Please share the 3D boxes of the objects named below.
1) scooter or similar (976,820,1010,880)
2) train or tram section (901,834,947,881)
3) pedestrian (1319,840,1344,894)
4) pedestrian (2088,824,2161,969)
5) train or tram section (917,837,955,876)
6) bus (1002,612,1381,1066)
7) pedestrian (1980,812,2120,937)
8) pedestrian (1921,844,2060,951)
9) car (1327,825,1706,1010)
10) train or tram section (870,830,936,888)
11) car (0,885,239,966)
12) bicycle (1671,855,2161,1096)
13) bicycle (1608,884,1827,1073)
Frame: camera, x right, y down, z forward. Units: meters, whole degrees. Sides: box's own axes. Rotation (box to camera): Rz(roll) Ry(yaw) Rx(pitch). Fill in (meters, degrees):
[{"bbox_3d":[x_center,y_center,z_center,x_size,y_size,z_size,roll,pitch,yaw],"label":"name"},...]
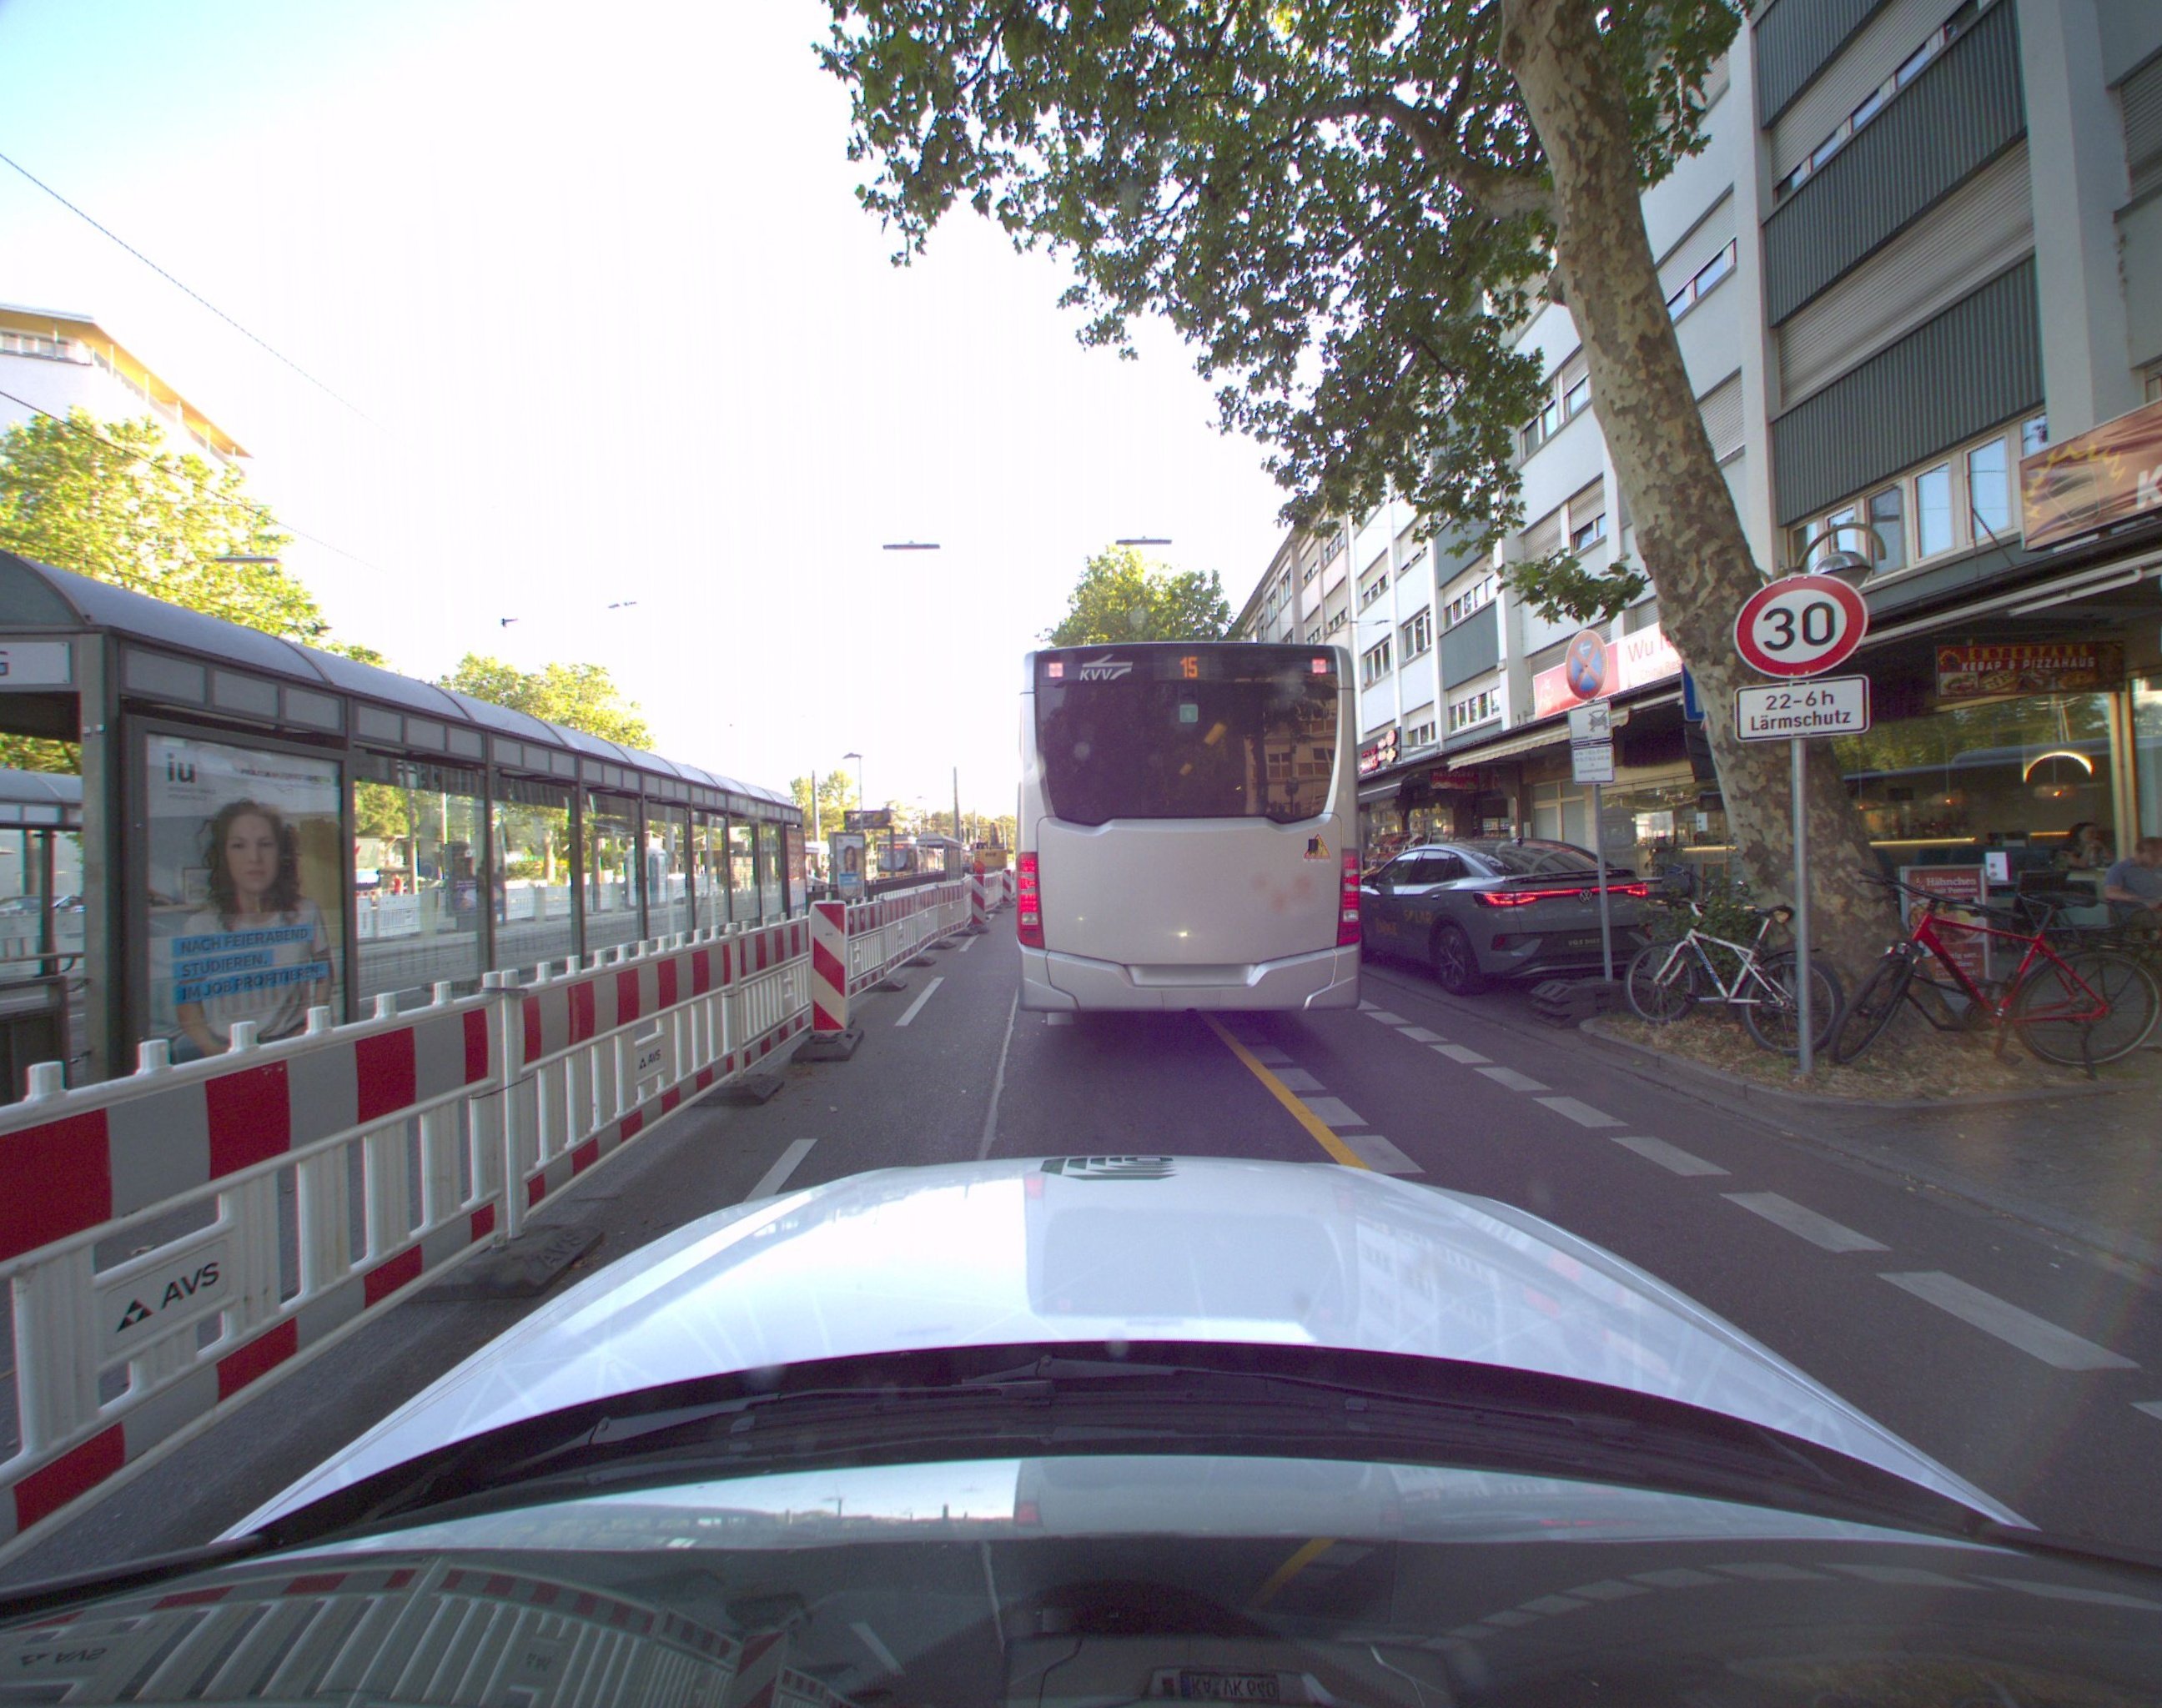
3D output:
[{"bbox_3d":[-6.955,-0.278,64.760,2.465,4.471,5.961,-2,-1,-5],"label":"scooter or similar"},{"bbox_3d":[-12.942,0.297,68.007,2.682,3.558,11.559,0,-1,-5],"label":"train or tram section"},{"bbox_3d":[7.957,0.415,25.862,0.658,1.666,0.603,-4,-1,18],"label":"pedestrian"},{"bbox_3d":[9.673,0.363,7.225,0.555,1.245,0.692,-4,0,8],"label":"pedestrian"},{"bbox_3d":[-14.036,0.288,79.491,2.683,3.533,11.558,0,-1,-6],"label":"train or tram section"},{"bbox_3d":[0.890,-0.078,9.623,2.601,3.126,7.996,0,0,2],"label":"bus"},{"bbox_3d":[11.104,0.224,9.353,0.836,1.333,0.963,-2,-1,-39],"label":"pedestrian"},{"bbox_3d":[9.855,0.450,8.840,0.643,1.081,0.945,-2,-1,-39],"label":"pedestrian"},{"bbox_3d":[4.733,0.581,9.777,1.989,1.582,4.364,-4,0,-3],"label":"car"},{"bbox_3d":[-12.063,0.352,56.308,2.681,3.534,11.756,0,-1,-3],"label":"train or tram section"},{"bbox_3d":[-24.091,1.690,20.322,1.988,1.662,3.997,-2,0,-1],"label":"car"},{"bbox_3d":[5.052,0.719,4.832,2.370,1.155,0.557,-7,-2,14],"label":"bicycle"},{"bbox_3d":[4.568,0.834,5.974,0.550,1.155,1.446,-2,-1,6],"label":"bicycle"}]
